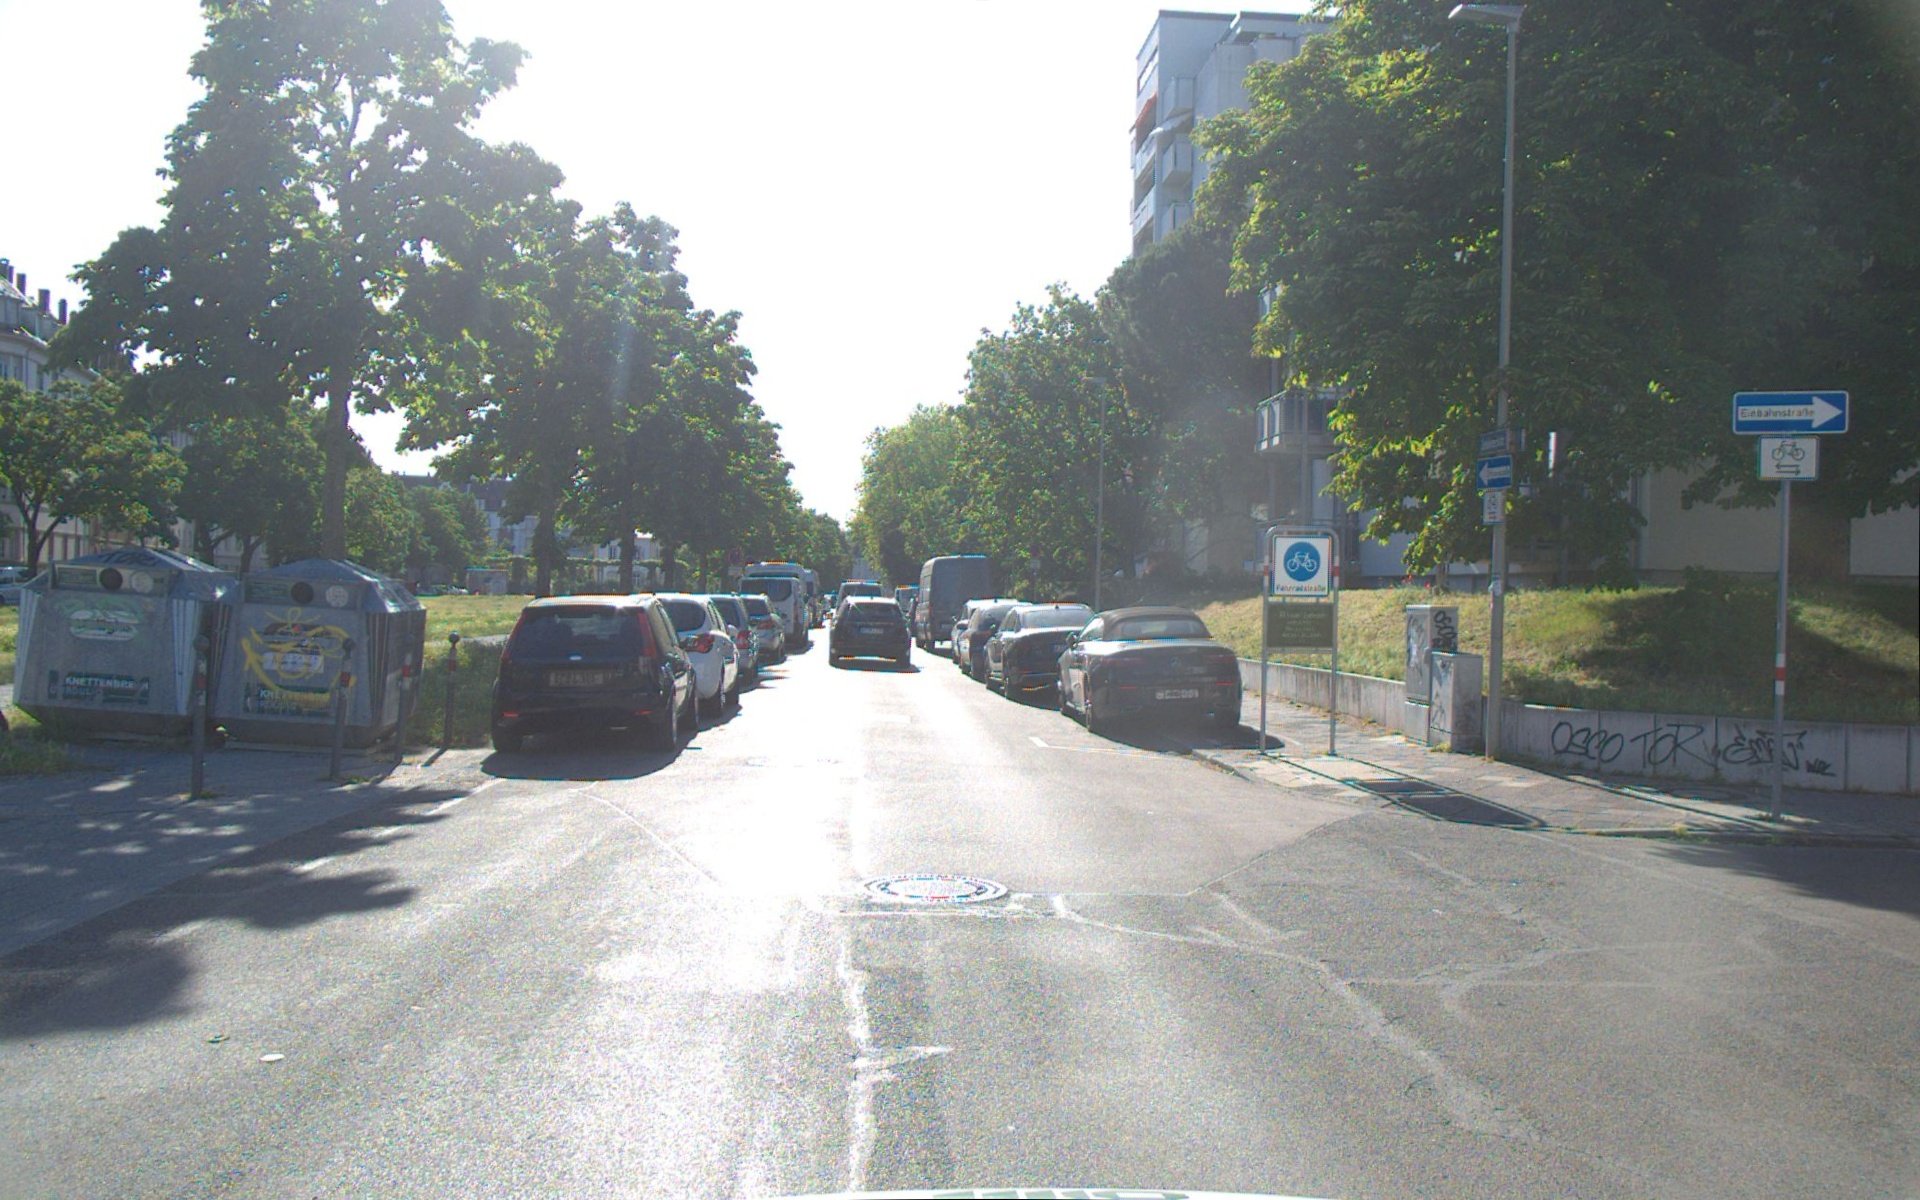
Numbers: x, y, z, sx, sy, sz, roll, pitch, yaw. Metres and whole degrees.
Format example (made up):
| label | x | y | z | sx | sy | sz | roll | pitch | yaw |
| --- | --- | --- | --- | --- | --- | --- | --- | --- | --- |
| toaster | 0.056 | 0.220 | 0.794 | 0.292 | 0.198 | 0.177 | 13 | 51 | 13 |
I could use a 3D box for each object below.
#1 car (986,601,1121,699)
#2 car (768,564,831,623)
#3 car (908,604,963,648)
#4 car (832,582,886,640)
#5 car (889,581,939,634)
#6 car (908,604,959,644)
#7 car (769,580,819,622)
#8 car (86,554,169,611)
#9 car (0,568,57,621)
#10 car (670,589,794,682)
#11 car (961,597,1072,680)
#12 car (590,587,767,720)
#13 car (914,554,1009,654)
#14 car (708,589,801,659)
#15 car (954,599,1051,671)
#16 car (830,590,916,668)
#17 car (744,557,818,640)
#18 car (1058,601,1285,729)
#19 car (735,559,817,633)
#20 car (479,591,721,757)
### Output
| label | x | y | z | sx | sy | sz | roll | pitch | yaw |
| --- | --- | --- | --- | --- | --- | --- | --- | --- | --- |
| car | 1.427 | 0.748 | 26.694 | 1.744 | 1.395 | 4.125 | 1 | 0 | -2 |
| car | -7.615 | -0.306 | 79.079 | 2.564 | 2.691 | 6.111 | 1 | 0 | -2 |
| car | -0.965 | 0.947 | 62.315 | 1.949 | 1.513 | 4.124 | 1 | 0 | -2 |
| car | -3.652 | 0.376 | 60.391 | 1.856 | 2.026 | 4.008 | 0 | 0 | -2 |
| car | -2.185 | 0.326 | 77.544 | 2.120 | 2.332 | 5.261 | 1 | 0 | -4 |
| car | -1.111 | 0.949 | 66.777 | 1.949 | 1.513 | 4.124 | 1 | 0 | -2 |
| car | -7.341 | 0.035 | 73.427 | 1.969 | 1.817 | 4.125 | 1 | 0 | -2 |
| car | -42.771 | -0.888 | 85.126 | 1.879 | 2.792 | 5.618 | 1 | 0 | -6 |
| car | -41.727 | -0.262 | 72.723 | 1.661 | 2.252 | 5.002 | 1 | 0 | -6 |
| car | -3.941 | 0.580 | 29.113 | 1.744 | 1.487 | 4.125 | 1 | 0 | -2 |
| car | 1.057 | 0.721 | 33.053 | 1.744 | 1.513 | 4.028 | 1 | 0 | -5 |
| car | -3.500 | 0.630 | 21.200 | 1.741 | 1.521 | 3.873 | -1 | 0 | -2 |
| car | -0.028 | 0.098 | 48.176 | 2.121 | 2.736 | 5.409 | 1 | 0 | -7 |
| car | -4.774 | 0.530 | 38.871 | 1.796 | 1.526 | 4.125 | 1 | 0 | -2 |
| car | 0.915 | 0.762 | 38.110 | 1.949 | 1.513 | 4.124 | 1 | 0 | -2 |
| car | -1.894 | 0.605 | 36.596 | 1.744 | 1.558 | 3.998 | 2 | 0 | -2 |
| car | -5.765 | -0.066 | 53.706 | 2.056 | 2.540 | 4.125 | 1 | 0 | -2 |
| car | 2.506 | 0.732 | 20.800 | 2.082 | 1.361 | 4.503 | -1 | 0 | -2 |
| car | -5.220 | -0.112 | 47.321 | 2.057 | 1.976 | 4.124 | 1 | 0 | -3 |
| car | -3.483 | 0.674 | 16.675 | 1.713 | 1.450 | 3.914 | -1 | -1 | -2 |
